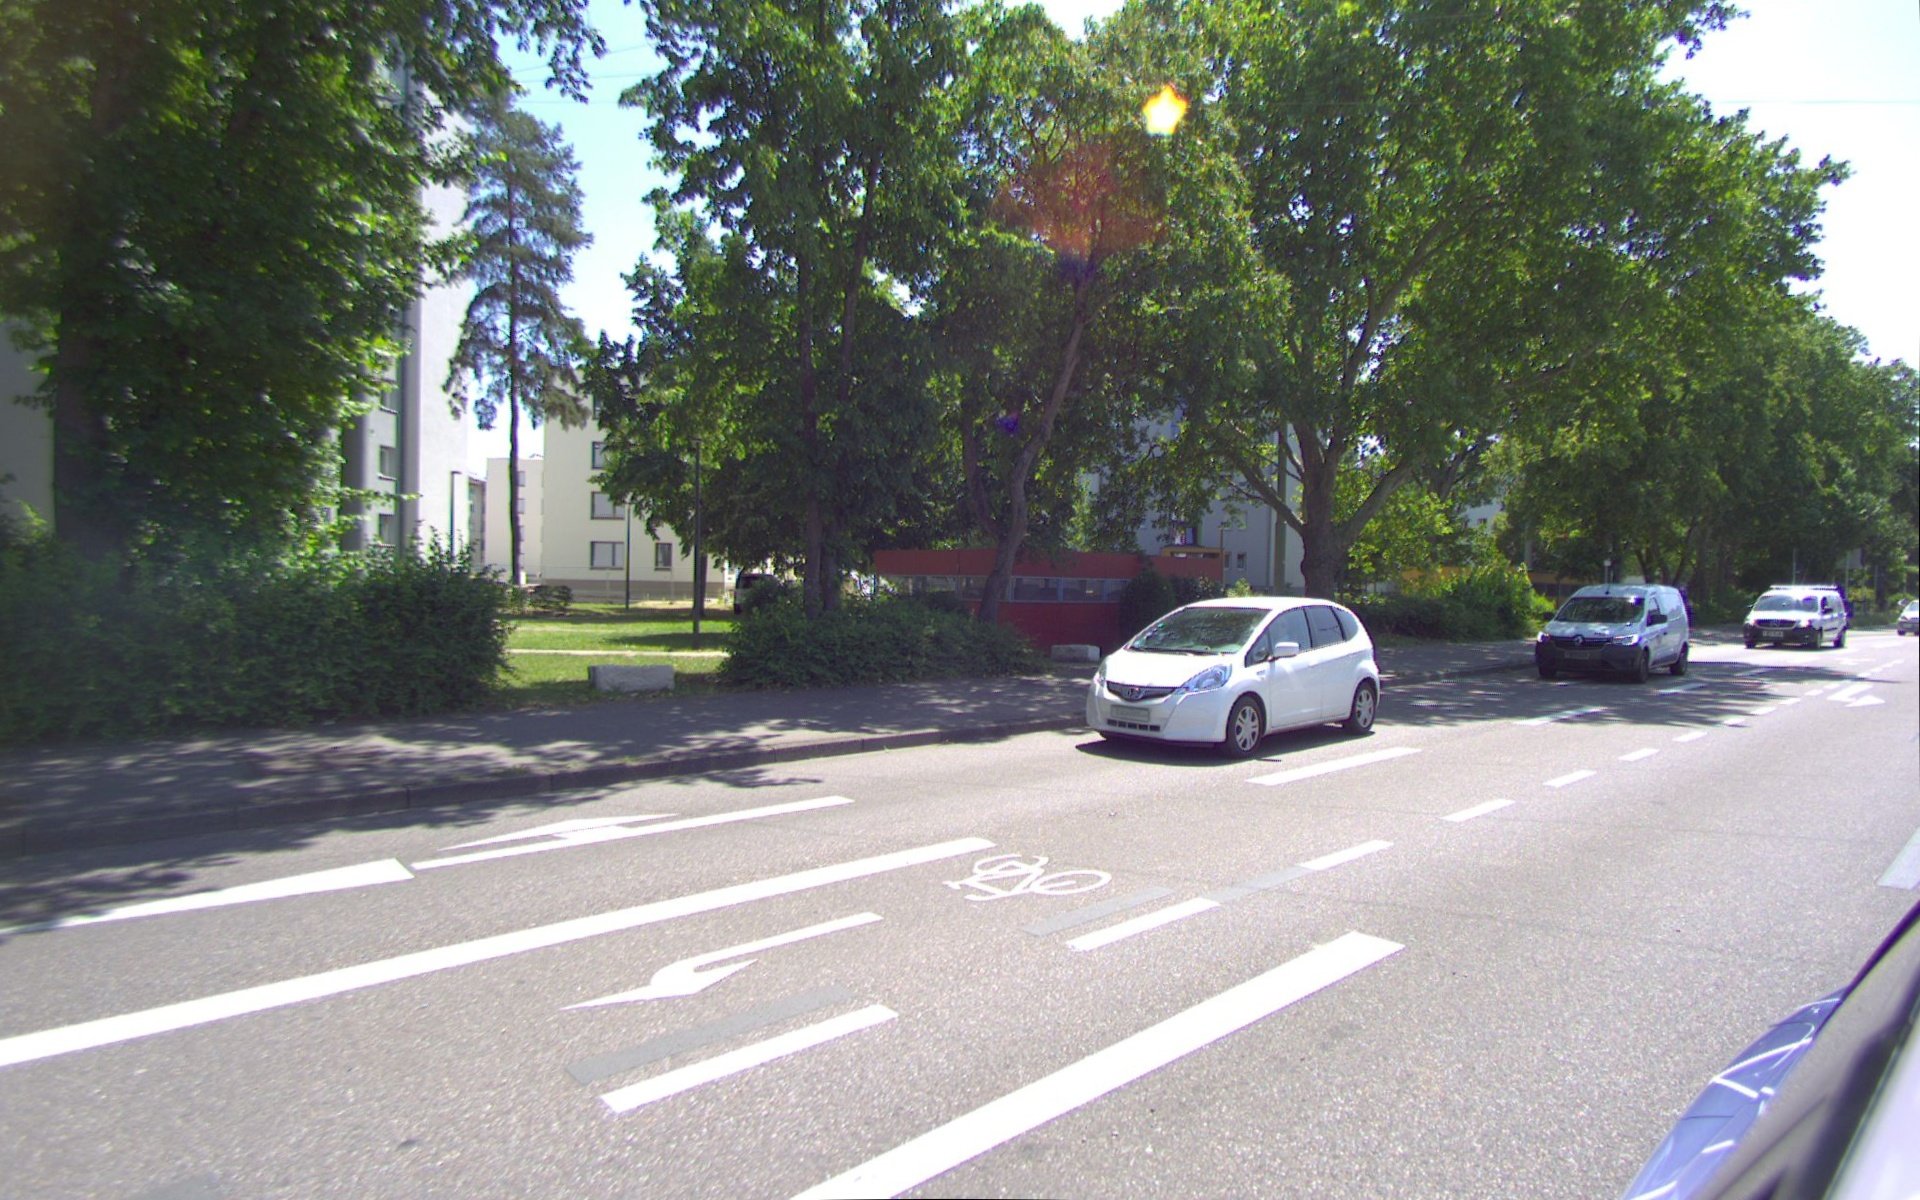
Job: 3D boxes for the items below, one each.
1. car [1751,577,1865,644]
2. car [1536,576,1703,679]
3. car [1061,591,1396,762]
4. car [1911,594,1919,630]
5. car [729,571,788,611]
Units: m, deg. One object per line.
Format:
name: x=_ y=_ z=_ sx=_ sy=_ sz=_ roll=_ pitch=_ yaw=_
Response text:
car: x=25.802 y=0.292 z=30.728 sx=4.992 sy=1.879 sz=1.808 roll=0 pitch=0 yaw=-40
car: x=12.790 y=0.473 z=19.530 sx=4.352 sy=1.769 sz=1.711 roll=0 pitch=0 yaw=-43
car: x=2.982 y=0.668 z=10.841 sx=3.812 sy=1.507 sz=1.722 roll=0 pitch=0 yaw=-43
car: x=40.125 y=0.468 z=41.135 sx=3.434 sy=1.459 sz=1.626 roll=0 pitch=0 yaw=-38
car: x=-8.848 y=-0.385 z=44.725 sx=1.709 sy=1.722 sz=3.746 roll=0 pitch=0 yaw=3
